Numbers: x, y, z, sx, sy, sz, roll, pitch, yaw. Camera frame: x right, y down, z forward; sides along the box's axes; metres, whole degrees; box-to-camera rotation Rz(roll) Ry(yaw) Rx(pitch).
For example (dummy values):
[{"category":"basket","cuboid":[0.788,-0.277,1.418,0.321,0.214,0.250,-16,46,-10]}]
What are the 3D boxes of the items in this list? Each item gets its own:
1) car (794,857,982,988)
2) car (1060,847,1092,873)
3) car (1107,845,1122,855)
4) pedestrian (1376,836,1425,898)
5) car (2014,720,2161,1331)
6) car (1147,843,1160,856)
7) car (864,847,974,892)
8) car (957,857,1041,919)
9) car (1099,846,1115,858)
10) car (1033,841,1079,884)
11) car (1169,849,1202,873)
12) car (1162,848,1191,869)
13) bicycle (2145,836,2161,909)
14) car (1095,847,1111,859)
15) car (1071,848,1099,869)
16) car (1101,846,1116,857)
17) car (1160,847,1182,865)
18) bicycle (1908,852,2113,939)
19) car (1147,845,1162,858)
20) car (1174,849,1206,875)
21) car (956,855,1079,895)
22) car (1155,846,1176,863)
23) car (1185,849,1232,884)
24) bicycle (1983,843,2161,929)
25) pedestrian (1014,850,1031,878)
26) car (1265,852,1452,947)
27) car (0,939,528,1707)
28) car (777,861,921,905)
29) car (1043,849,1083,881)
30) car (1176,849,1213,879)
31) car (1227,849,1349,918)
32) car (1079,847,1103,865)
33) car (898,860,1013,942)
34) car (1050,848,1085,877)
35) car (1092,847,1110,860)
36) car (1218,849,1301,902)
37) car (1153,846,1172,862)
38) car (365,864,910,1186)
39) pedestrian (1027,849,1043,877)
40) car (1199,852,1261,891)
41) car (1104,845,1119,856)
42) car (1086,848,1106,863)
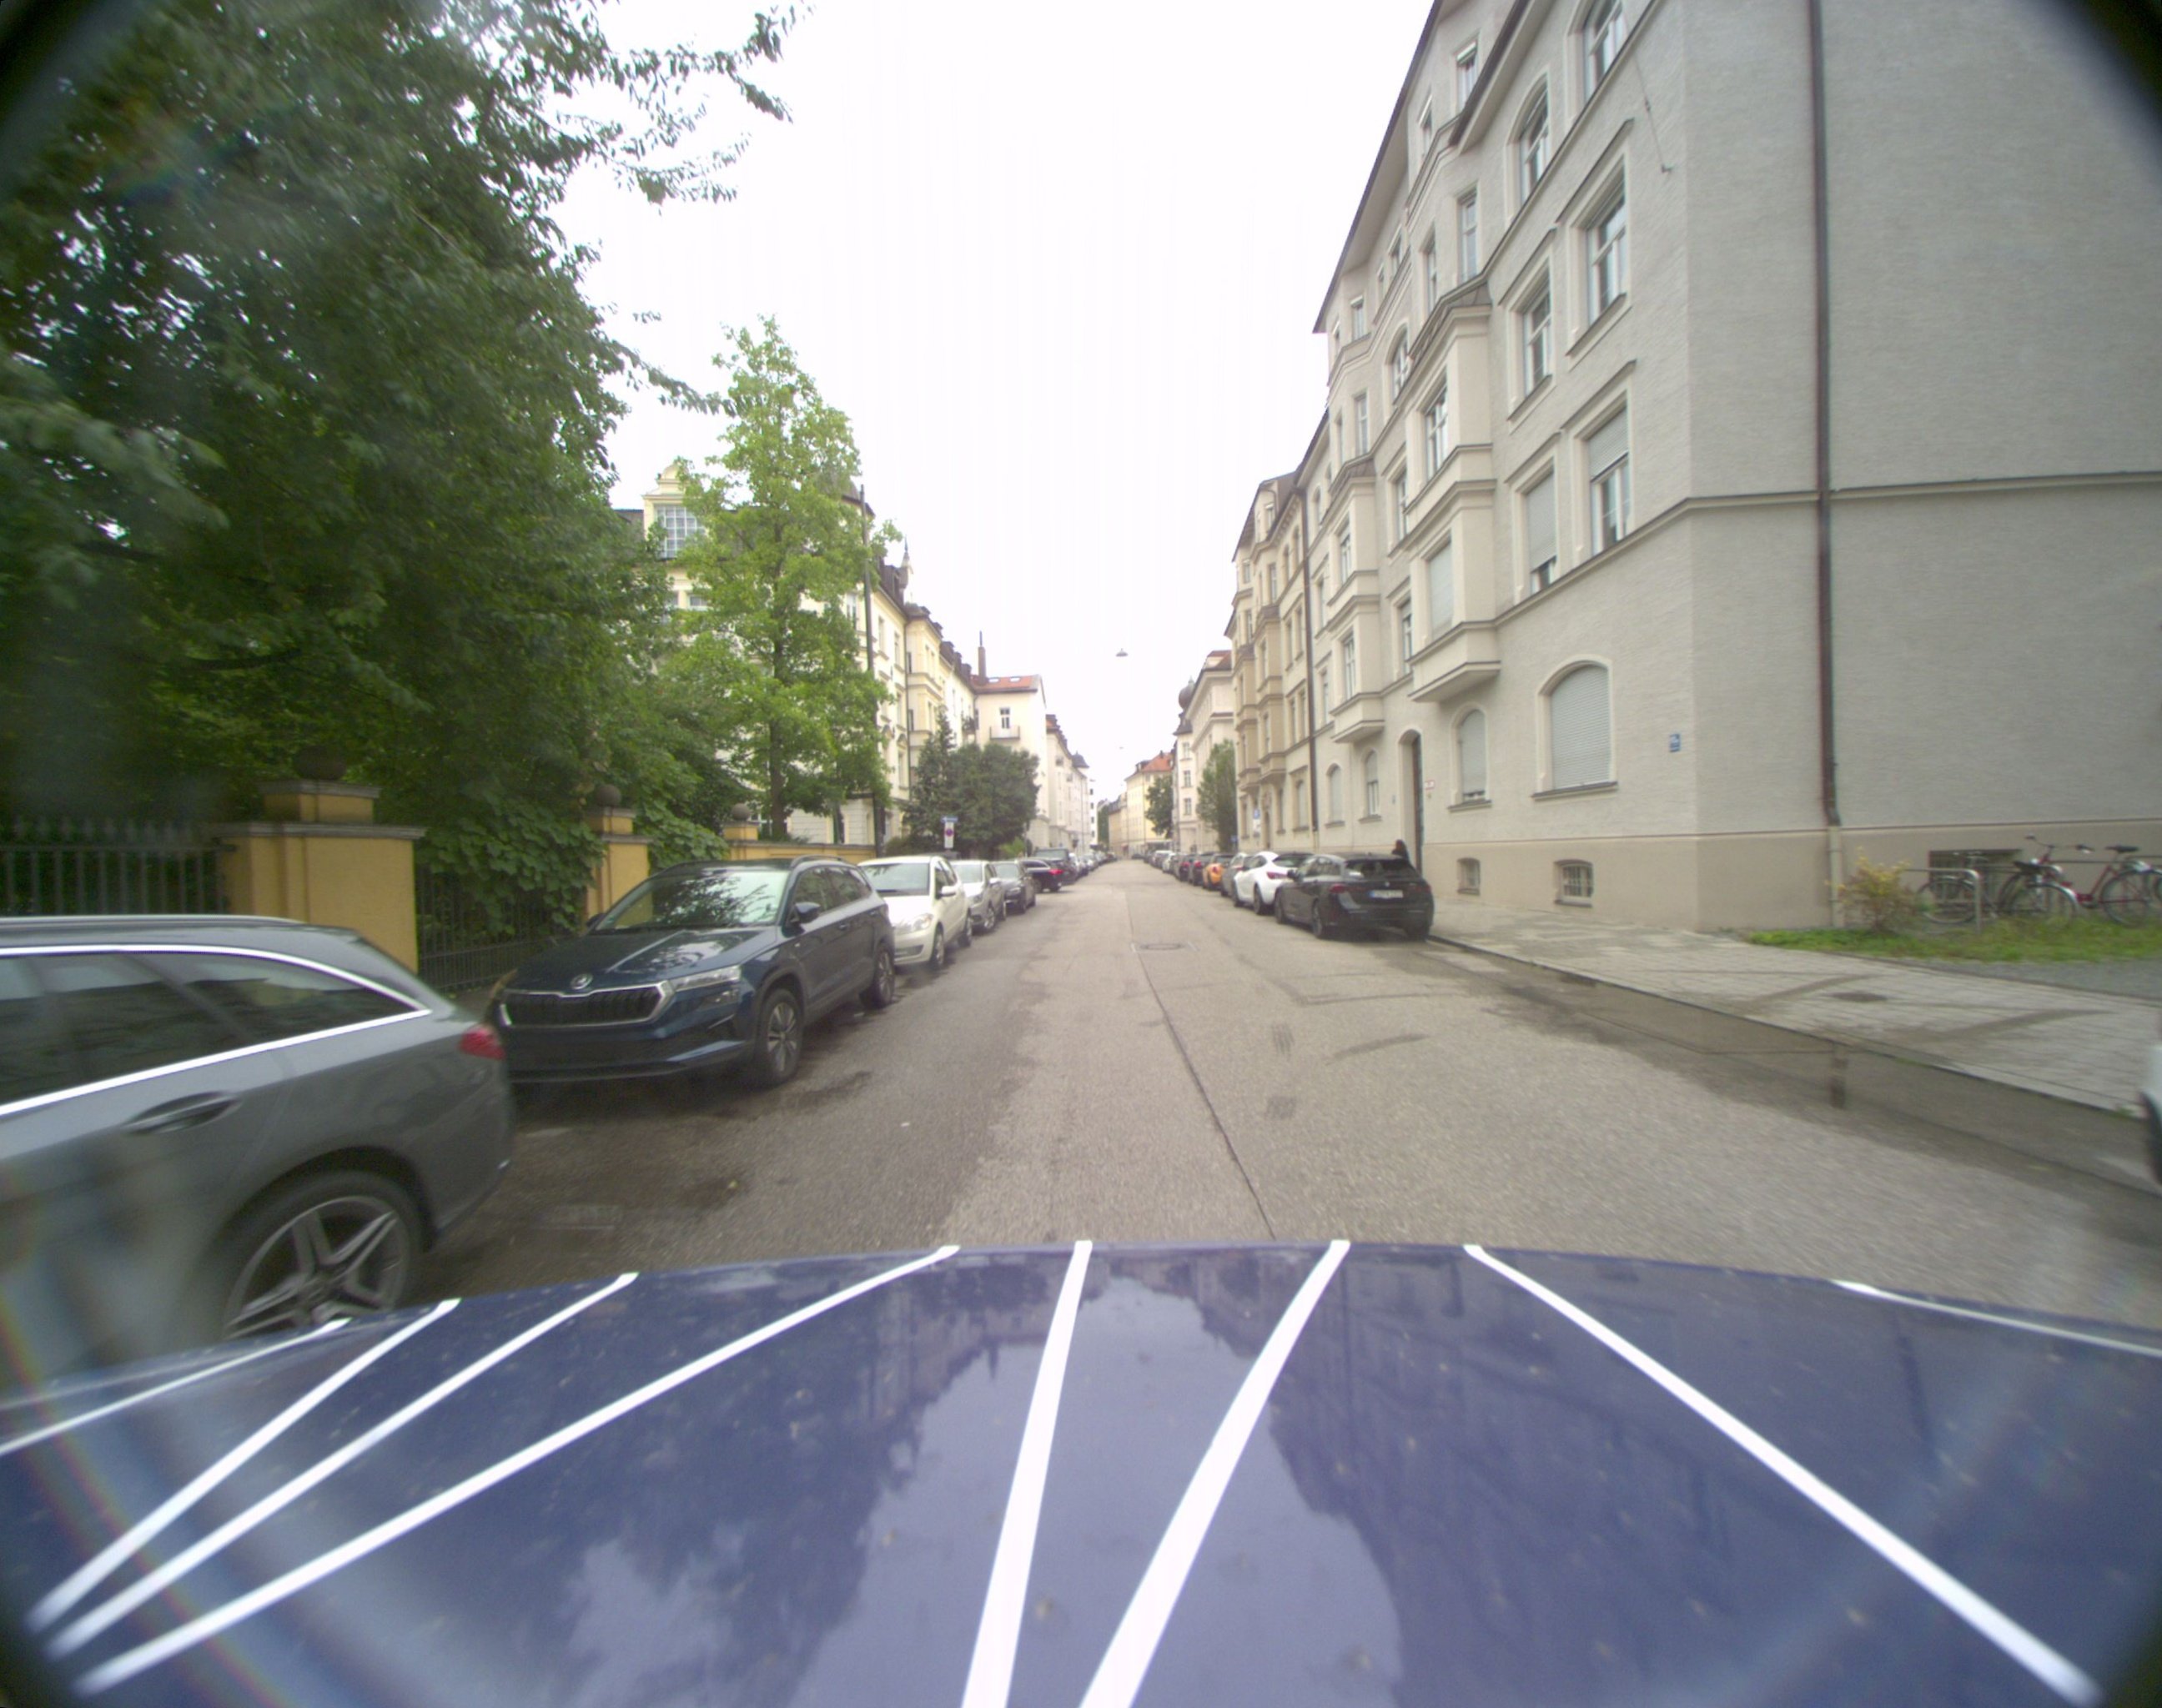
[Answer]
[{"category":"car","cuboid":[-2.764,0.895,11.924,1.717,1.561,4.319,-2,1,1]},{"category":"car","cuboid":[-0.301,0.400,54.489,1.998,1.585,4.299,-6,0,1]},{"category":"car","cuboid":[6.045,-0.653,135.978,1.997,1.585,4.301,-6,0,9]},{"category":"pedestrian","cuboid":[8.638,0.348,20.574,0.876,1.599,1.052,-2,1,2]},{"category":"car","cuboid":[4.318,0.546,0.287,1.860,1.927,4.957,-1,1,0]},{"category":"car","cuboid":[10.228,-0.636,107.781,1.626,1.711,3.920,-1,1,2]},{"category":"car","cuboid":[-7.382,0.721,35.037,4.678,1.860,1.742,-2,-2,-3]},{"category":"car","cuboid":[-2.193,0.866,21.574,1.717,1.445,4.955,-2,1,1]},{"category":"car","cuboid":[3.972,-0.302,116.887,1.998,1.672,4.300,-6,0,6]},{"category":"car","cuboid":[-1.235,0.413,39.371,1.998,1.949,4.433,-6,0,1]},{"category":"car","cuboid":[6.801,0.425,49.772,1.627,1.421,3.689,-1,1,1]},{"category":"car","cuboid":[6.804,0.306,54.310,1.627,1.421,3.689,-1,1,1]},{"category":"bicycle","cuboid":[14.632,0.257,9.460,0.448,0.979,1.780,-2,1,8]},{"category":"car","cuboid":[3.261,-0.192,111.782,1.998,1.585,4.300,-6,0,5]},{"category":"car","cuboid":[0.409,0.370,66.682,1.998,1.585,4.300,-6,0,5]},{"category":"car","cuboid":[4.470,-0.368,122.304,1.998,1.585,4.429,-6,0,6]},{"category":"car","cuboid":[7.657,0.172,64.810,1.626,1.421,3.690,-1,1,4]},{"category":"bicycle","cuboid":[11.768,0.482,9.717,0.448,0.979,1.779,-3,1,1]},{"category":"car","cuboid":[9.267,-0.300,96.172,1.626,1.522,3.920,-1,1,2]},{"category":"car","cuboid":[6.364,0.466,44.603,1.626,1.421,3.589,-1,1,4]},{"category":"car","cuboid":[-2.538,0.845,30.747,4.574,1.405,1.795,-2,1,13]},{"category":"car","cuboid":[7.716,0.001,69.594,1.626,1.522,3.689,-1,1,2]},{"category":"car","cuboid":[5.661,0.522,34.057,1.626,1.448,3.941,-1,1,3]},{"category":"bicycle","cuboid":[12.717,0.364,9.635,0.448,0.979,1.779,-3,1,1]},{"category":"pedestrian","cuboid":[-3.668,0.630,47.994,0.876,1.680,1.052,-2,1,2]},{"category":"car","cuboid":[4.780,0.693,13.810,1.860,1.404,4.379,0,1,1]},{"category":"car","cuboid":[-3.093,1.085,0.715,1.696,1.406,4.515,-2,1,2]},{"category":"car","cuboid":[-8.796,1.082,29.134,4.954,1.404,1.742,-2,0,-5]},{"category":"car","cuboid":[-1.010,0.611,44.383,1.998,1.585,3.855,-6,0,1]},{"category":"car","cuboid":[5.877,0.476,39.707,1.626,1.421,3.942,-1,1,4]},{"category":"car","cuboid":[4.948,0.641,18.792,1.860,1.455,4.379,-1,1,1]},{"category":"car","cuboid":[1.036,0.214,77.540,1.998,1.585,4.300,-6,0,5]},{"category":"car","cuboid":[-2.581,0.912,16.608,1.717,1.445,4.183,-2,1,1]},{"category":"car","cuboid":[-0.810,0.535,49.551,1.998,1.643,4.448,-6,0,1]},{"category":"car","cuboid":[2.734,-0.062,102.198,1.998,1.585,4.300,-6,0,5]},{"category":"car","cuboid":[5.404,0.591,23.416,1.809,1.455,3.938,-1,1,3]},{"category":"car","cuboid":[8.047,0.015,75.028,1.626,1.522,3.920,-1,1,2]},{"category":"car","cuboid":[-2.896,0.949,6.404,1.717,1.561,4.691,-2,1,1]},{"category":"pedestrian","cuboid":[-2.900,0.547,47.827,0.876,1.746,1.052,-2,1,2]},{"category":"car","cuboid":[5.645,0.616,29.127,1.809,1.355,3.730,-1,1,3]},{"category":"car","cuboid":[5.073,-0.576,127.150,1.997,1.585,4.301,-6,0,8]},{"category":"car","cuboid":[1.869,0.124,91.500,1.998,1.585,4.300,-6,0,5]}]
